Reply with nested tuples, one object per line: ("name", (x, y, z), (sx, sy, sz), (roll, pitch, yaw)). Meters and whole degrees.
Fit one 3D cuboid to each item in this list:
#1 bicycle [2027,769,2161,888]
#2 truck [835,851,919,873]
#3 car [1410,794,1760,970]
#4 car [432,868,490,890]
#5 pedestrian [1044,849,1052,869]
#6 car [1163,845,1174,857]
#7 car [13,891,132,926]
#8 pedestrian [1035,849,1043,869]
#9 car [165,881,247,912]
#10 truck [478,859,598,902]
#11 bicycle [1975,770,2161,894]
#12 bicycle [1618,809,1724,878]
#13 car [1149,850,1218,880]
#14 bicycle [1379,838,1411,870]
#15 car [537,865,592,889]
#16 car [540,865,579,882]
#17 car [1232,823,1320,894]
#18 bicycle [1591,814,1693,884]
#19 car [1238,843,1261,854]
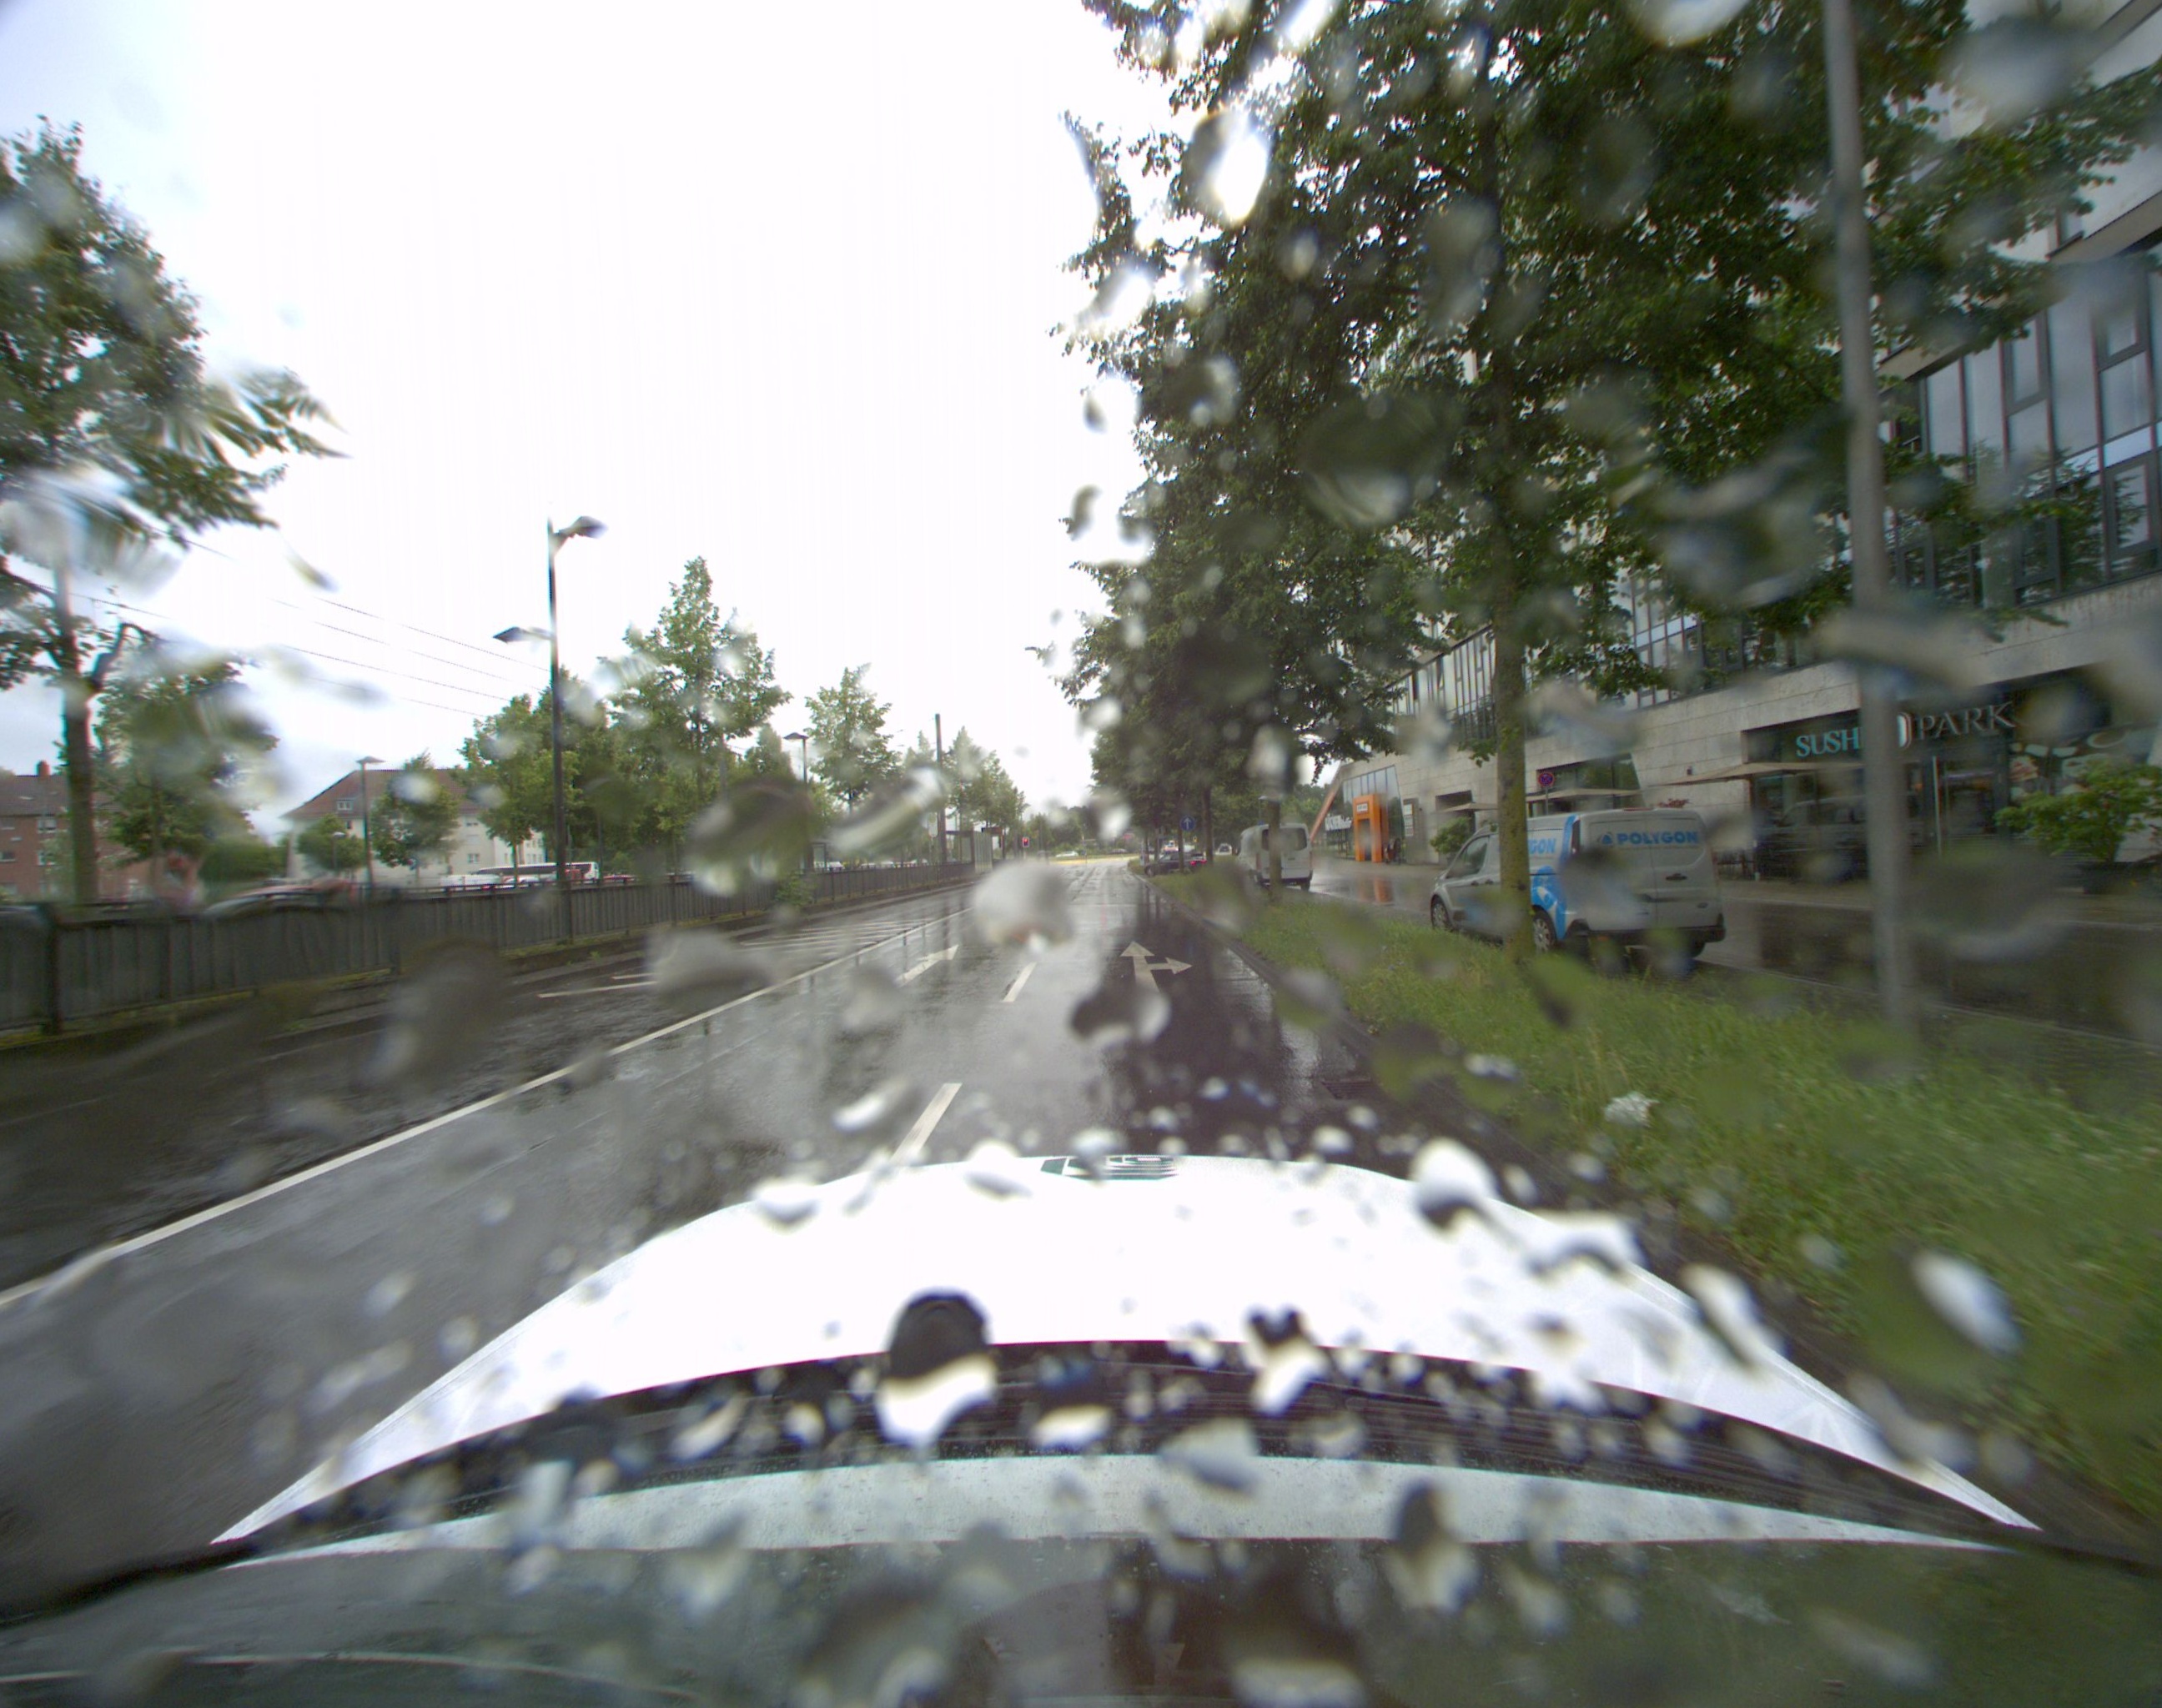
("bicycle", (16.099, -0.393, 11.986), (0.769, 1.722, 3.122), (-3, 2, 1))
("truck", (-34.409, 1.239, 138.310), (3.477, 3.147, 15.004), (-3, 0, 37))
("car", (6.351, 0.293, 11.083), (1.899, 1.791, 4.690), (-3, 0, 2))
("car", (-62.618, 2.529, 82.267), (1.978, 2.013, 4.234), (-3, 0, 17))
("pedestrian", (-3.350, 0.497, 82.188), (0.695, 2.013, 0.656), (-3, 2, 1))
("car", (14.156, -0.540, 131.820), (1.615, 1.699, 3.462), (-3, 2, 5))
("car", (-78.314, 4.196, 63.385), (2.074, 2.013, 5.387), (-3, 2, 9))
("pedestrian", (-4.178, 0.497, 81.059), (0.695, 2.013, 0.656), (-3, 2, 1))
("car", (-69.747, 3.358, 64.979), (1.986, 2.013, 4.002), (-3, 2, 1))
("truck", (-71.635, 3.434, 107.824), (12.506, 4.592, 3.377), (-4, 2, -23))
("bicycle", (15.323, -0.354, 12.123), (0.642, 1.722, 3.122), (-3, 2, 1))
("bicycle", (15.953, -0.319, 22.172), (0.642, 1.722, 3.122), (-3, 2, 1))
("car", (5.818, 0.577, 46.579), (1.827, 1.545, 3.961), (-4, 2, -31))
("bicycle", (16.803, -0.027, 43.619), (0.663, 1.534, 2.766), (-3, 2, 2))
("car", (-49.302, 2.186, 77.806), (1.978, 2.013, 4.018), (-3, 0, 17))
("car", (-61.684, 2.286, 96.397), (3.546, 1.738, 1.694), (-4, 2, -22))
("car", (6.988, 0.144, 29.707), (2.113, 2.274, 4.566), (-3, 0, 2))
("bicycle", (15.213, -0.187, 22.214), (0.642, 1.722, 3.122), (-3, 2, 1))
("car", (28.497, -0.960, 137.786), (3.411, 1.699, 1.639), (-2, 2, 32))
